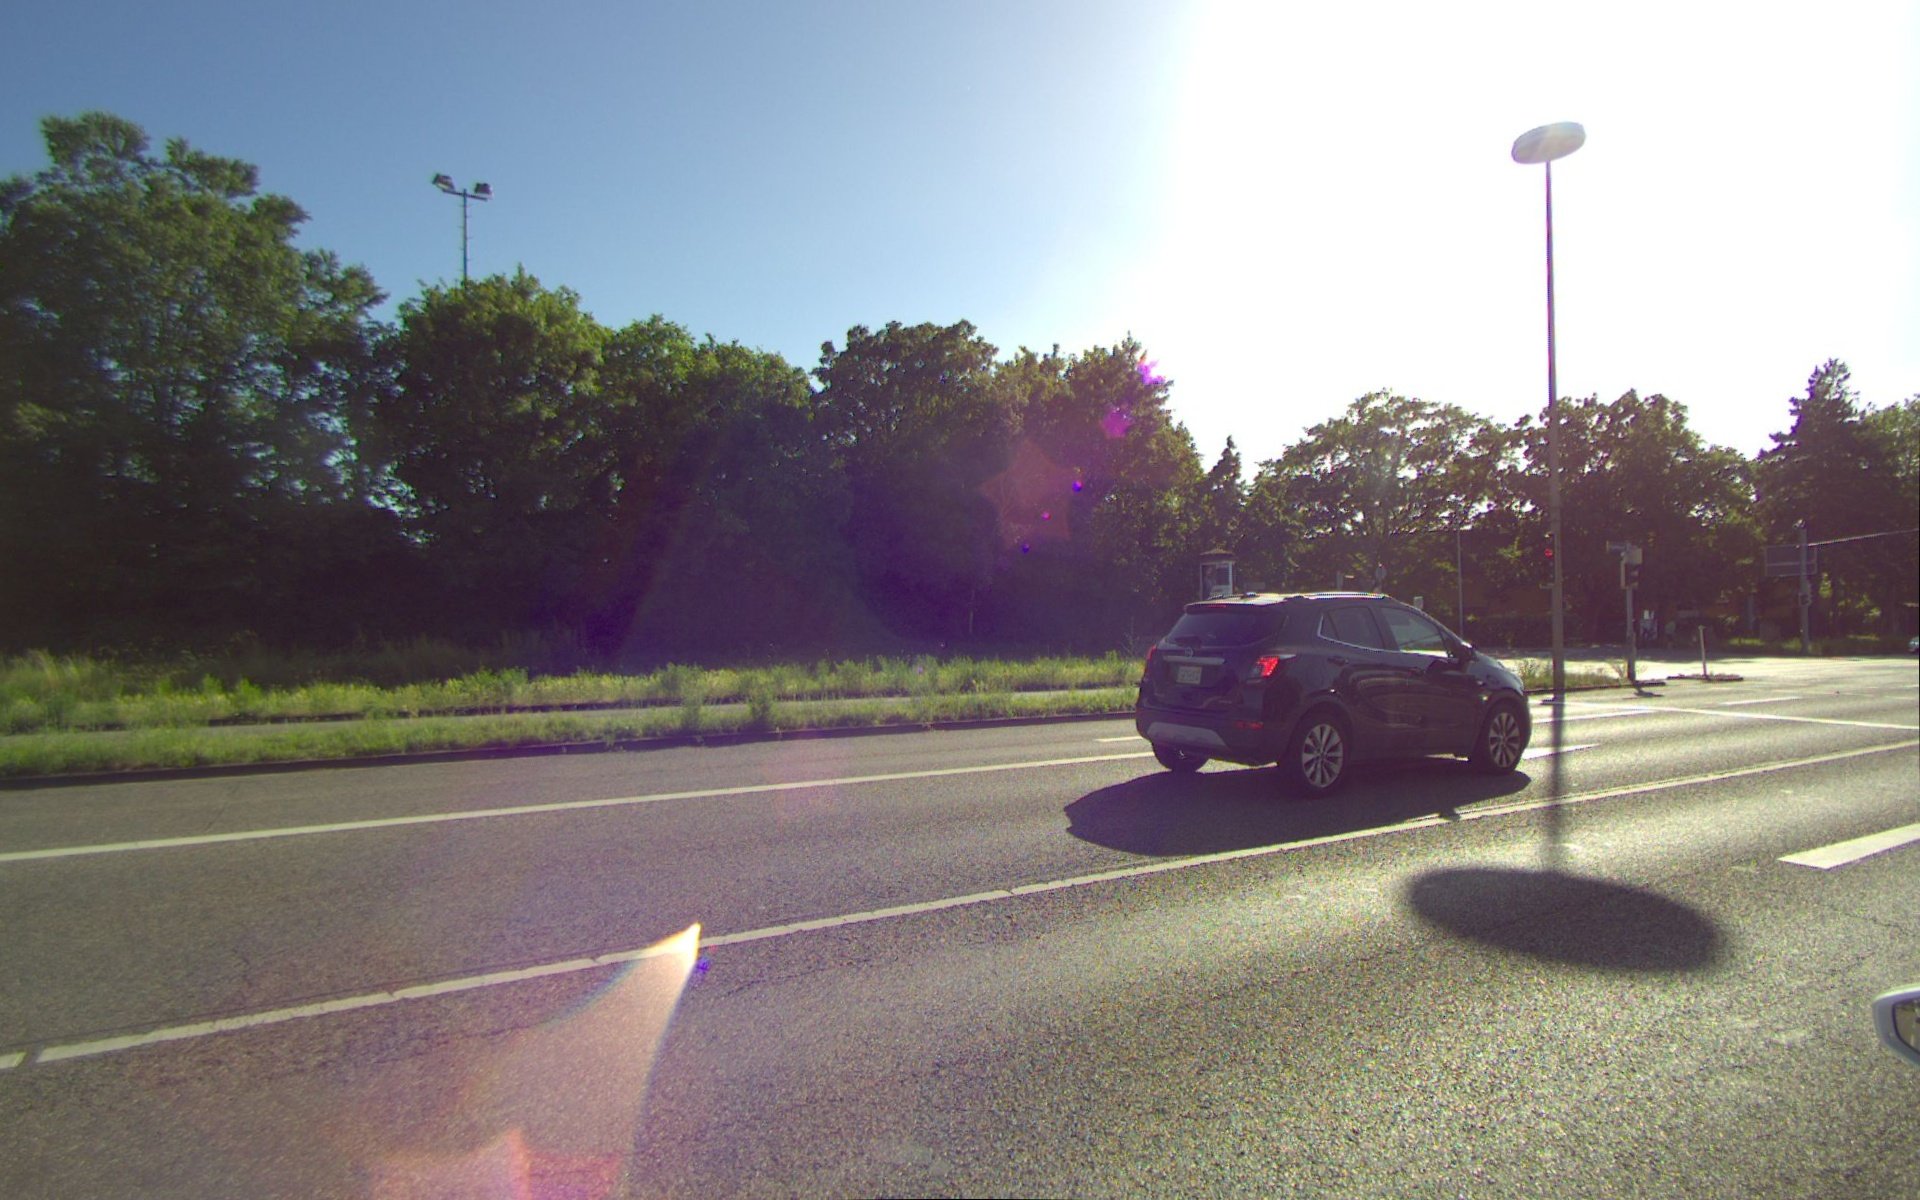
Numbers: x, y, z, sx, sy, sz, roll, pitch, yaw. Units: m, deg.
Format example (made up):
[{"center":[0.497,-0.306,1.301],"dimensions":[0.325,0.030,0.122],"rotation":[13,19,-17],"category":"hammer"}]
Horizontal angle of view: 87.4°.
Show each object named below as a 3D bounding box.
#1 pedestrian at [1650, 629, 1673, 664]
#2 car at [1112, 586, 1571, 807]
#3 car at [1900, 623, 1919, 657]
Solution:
[{"center":[37.855,2.499,54.213],"dimensions":[0.542,1.859,0.843],"rotation":[0,-1,-26],"category":"pedestrian"},{"center":[3.653,0.772,9.393],"dimensions":[4.366,1.653,1.687],"rotation":[1,-2,-31],"category":"car"},{"center":[50.937,2.090,52.270],"dimensions":[4.211,1.706,1.855],"rotation":[1,0,-31],"category":"car"}]
